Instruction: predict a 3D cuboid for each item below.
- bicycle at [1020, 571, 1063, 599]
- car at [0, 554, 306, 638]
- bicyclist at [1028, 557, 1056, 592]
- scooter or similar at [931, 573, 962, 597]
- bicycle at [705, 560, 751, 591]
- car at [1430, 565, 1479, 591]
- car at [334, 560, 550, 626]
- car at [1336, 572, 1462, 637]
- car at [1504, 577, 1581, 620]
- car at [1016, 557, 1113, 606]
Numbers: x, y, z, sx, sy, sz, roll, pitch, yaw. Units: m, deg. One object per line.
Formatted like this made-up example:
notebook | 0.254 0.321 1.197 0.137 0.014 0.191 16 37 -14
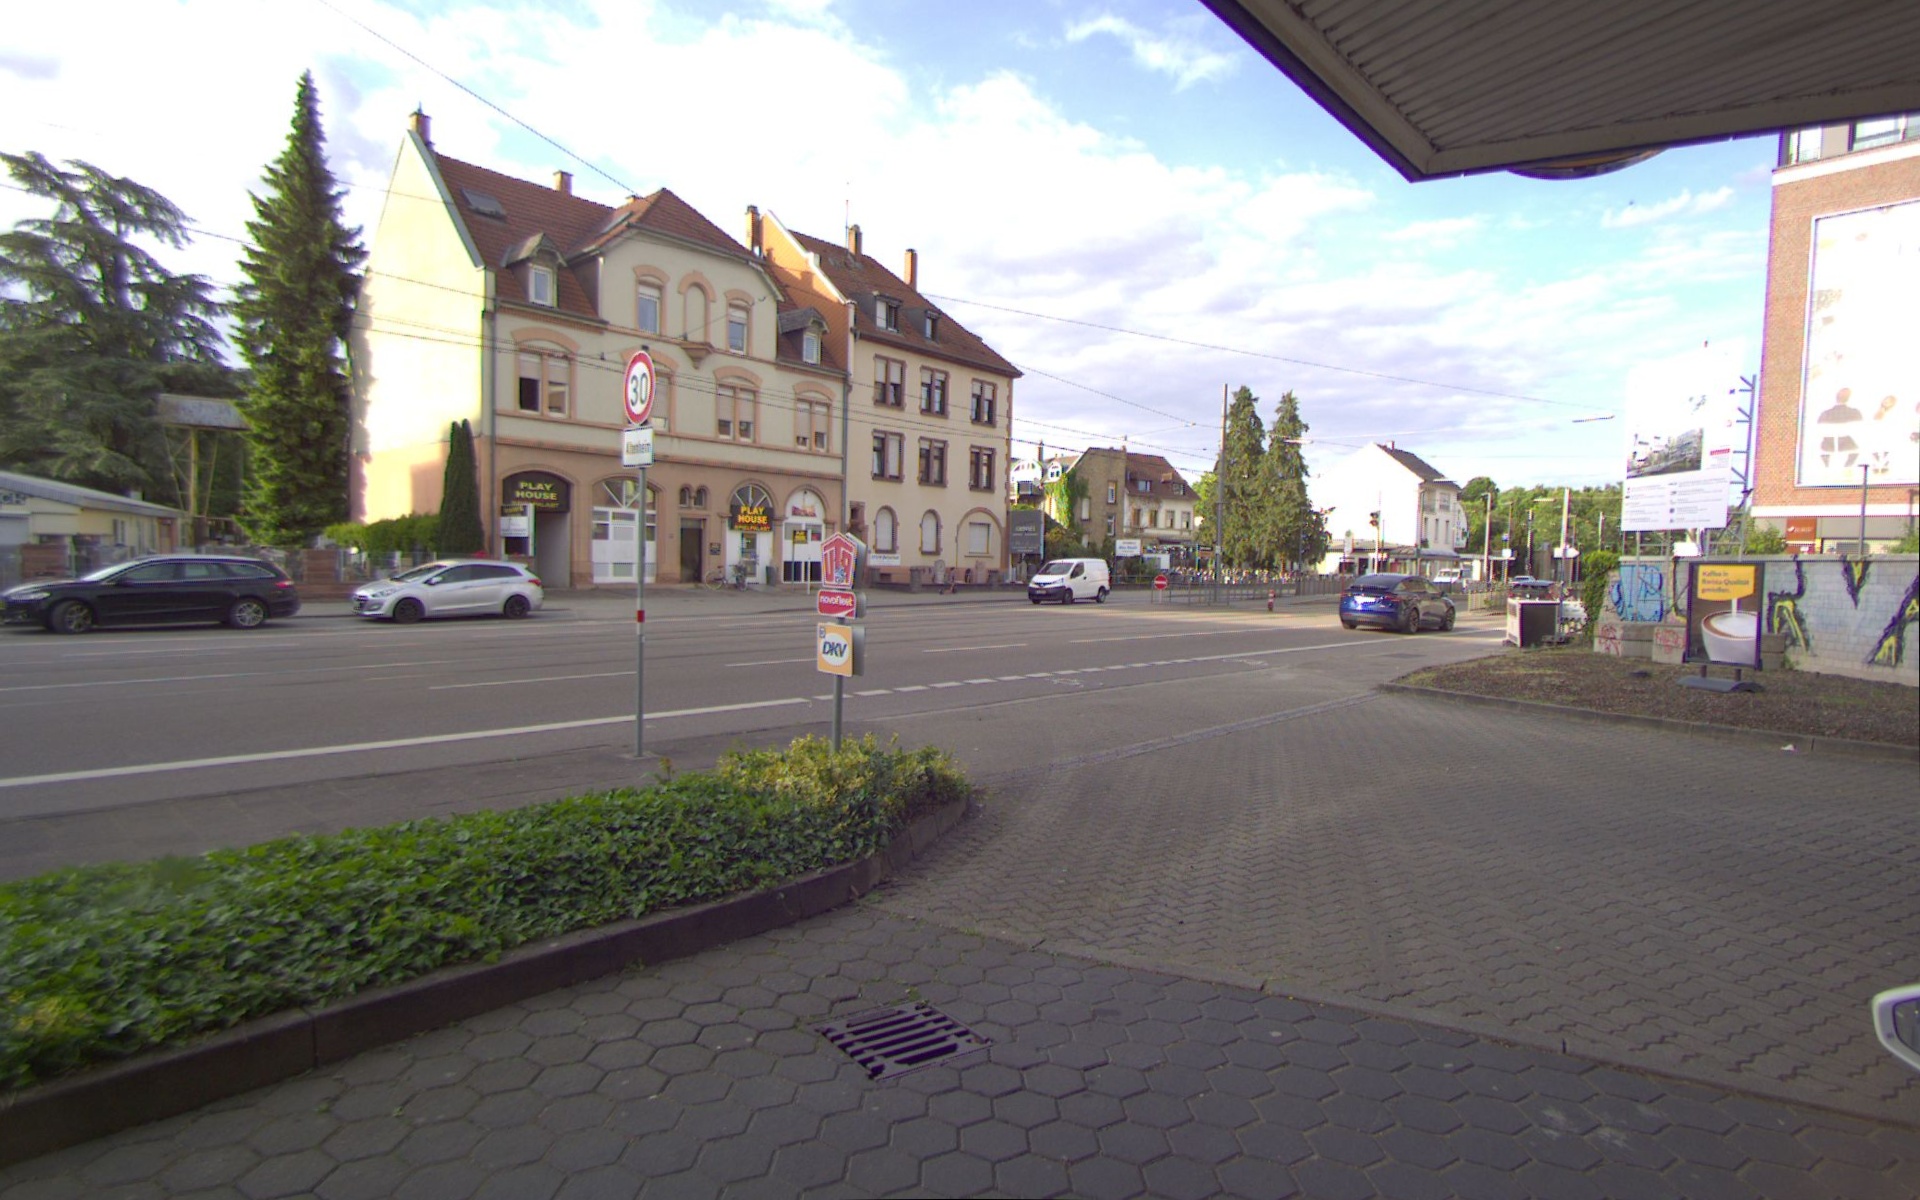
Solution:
bicycle | 3.942 -0.741 48.621 1.884 1.219 0.839 1 6 -31
car | -16.577 -0.146 20.731 1.970 1.516 4.801 3 3 40
bicyclist | 3.953 -1.221 48.590 0.953 1.579 0.839 1 6 -31
scooter or similar | -0.603 -0.684 45.134 0.488 1.015 1.592 5 5 39
bicycle | -9.149 -0.952 39.708 0.508 1.189 1.809 4 2 40
car | 39.884 -1.812 80.985 4.854 1.995 1.974 -1 3 -43
car | -13.008 -0.243 25.464 1.970 1.495 4.467 3 3 40
car | 12.975 0.093 29.560 1.746 1.679 4.821 5 4 44
car | 23.839 -0.078 41.068 1.745 1.564 4.106 5 4 43
car | 4.453 -0.782 42.305 1.939 1.915 4.390 3 2 39
